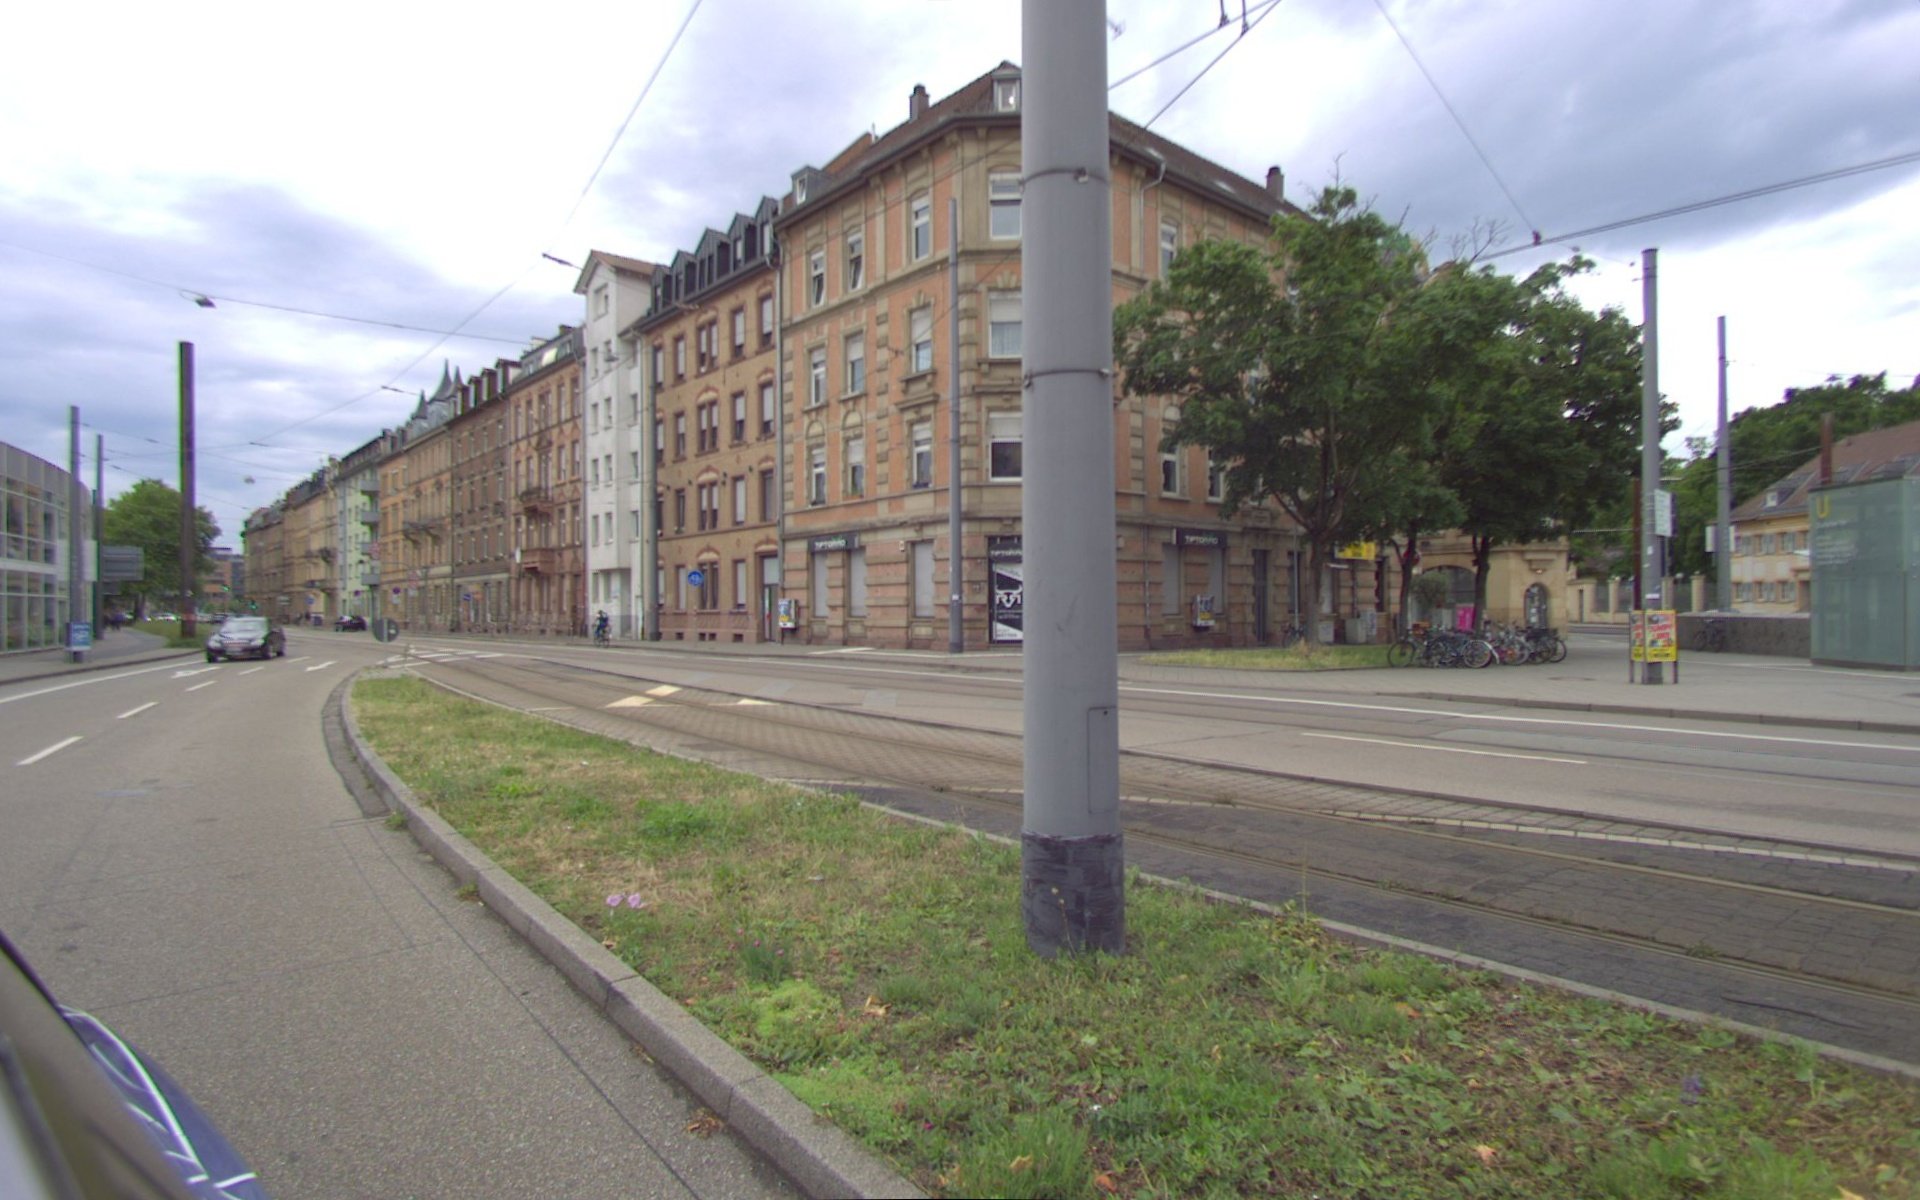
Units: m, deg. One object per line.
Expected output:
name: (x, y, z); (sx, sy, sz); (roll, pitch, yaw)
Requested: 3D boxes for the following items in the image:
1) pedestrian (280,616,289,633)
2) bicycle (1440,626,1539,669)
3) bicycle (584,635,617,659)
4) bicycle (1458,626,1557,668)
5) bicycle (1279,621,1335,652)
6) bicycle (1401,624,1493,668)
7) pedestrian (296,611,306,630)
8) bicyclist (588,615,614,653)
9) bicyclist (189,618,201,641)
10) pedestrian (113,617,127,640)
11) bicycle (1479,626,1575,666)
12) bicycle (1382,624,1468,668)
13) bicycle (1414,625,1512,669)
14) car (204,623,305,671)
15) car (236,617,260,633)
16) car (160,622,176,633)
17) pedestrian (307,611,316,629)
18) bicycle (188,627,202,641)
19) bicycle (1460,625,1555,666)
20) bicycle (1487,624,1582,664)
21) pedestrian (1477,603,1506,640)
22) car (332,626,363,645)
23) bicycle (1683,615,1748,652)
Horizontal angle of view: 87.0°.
pedestrian: (-81.218, 2.989, 121.689); (0.802, 2.029, 0.735); (0, -1, -40)
bicycle: (13.022, 1.149, 24.974); (0.491, 0.994, 2.227); (0, -1, -30)
bicycle: (-14.712, 1.903, 41.356); (0.599, 0.922, 1.721); (0, -1, -44)
bicycle: (13.937, 1.186, 25.835); (0.600, 0.994, 2.227); (0, -1, -30)
bicycle: (11.074, 1.147, 32.378); (0.651, 0.921, 1.995); (0, 0, -15)
bicycle: (11.762, 1.087, 24.511); (0.513, 0.994, 2.044); (0, -1, -30)
pedestrian: (-73.982, 2.298, 113.628); (0.798, 2.029, 0.701); (0, -1, -40)
bicyclist: (-14.672, 1.384, 41.326); (0.653, 1.505, 0.943); (0, -1, -44)
bicyclist: (-58.832, 2.239, 77.825); (0.718, 1.770, 0.913); (0, -1, -34)
pedestrian: (-66.445, 2.251, 80.064); (0.858, 1.868, 0.707); (0, -1, -40)
bicycle: (15.089, 1.204, 26.985); (0.575, 0.994, 2.227); (0, -1, -30)
bicycle: (11.086, 1.079, 24.188); (0.491, 0.994, 1.874); (0, -1, -32)
bicycle: (12.260, 1.123, 24.761); (0.472, 1.014, 2.227); (0, -1, -30)
car: (-23.633, 1.530, 34.062); (1.686, 1.432, 4.082); (0, -1, -18)
car: (-75.836, 2.678, 107.789); (1.775, 1.652, 4.237); (0, -1, -39)
car: (-118.030, 4.075, 150.792); (1.775, 1.652, 4.237); (0, -1, -39)
pedestrian: (-73.619, 2.306, 114.841); (0.798, 2.029, 0.879); (0, -1, -40)
bicycle: (-58.832, 2.617, 77.811); (0.715, 1.016, 2.182); (0, -1, -33)
bicycle: (14.270, 1.176, 26.447); (0.491, 0.994, 2.227); (0, -1, -30)
bicycle: (15.857, 1.187, 27.997); (0.677, 1.046, 2.227); (0, -1, -30)
pedestrian: (24.879, 0.996, 47.399); (0.937, 1.735, 0.849); (0, -1, -37)
car: (-51.578, 2.947, 85.196); (1.824, 1.491, 3.836); (0, -1, -38)
bicycle: (24.259, 1.047, 32.548); (0.732, 1.123, 2.354); (-1, -1, 12)
